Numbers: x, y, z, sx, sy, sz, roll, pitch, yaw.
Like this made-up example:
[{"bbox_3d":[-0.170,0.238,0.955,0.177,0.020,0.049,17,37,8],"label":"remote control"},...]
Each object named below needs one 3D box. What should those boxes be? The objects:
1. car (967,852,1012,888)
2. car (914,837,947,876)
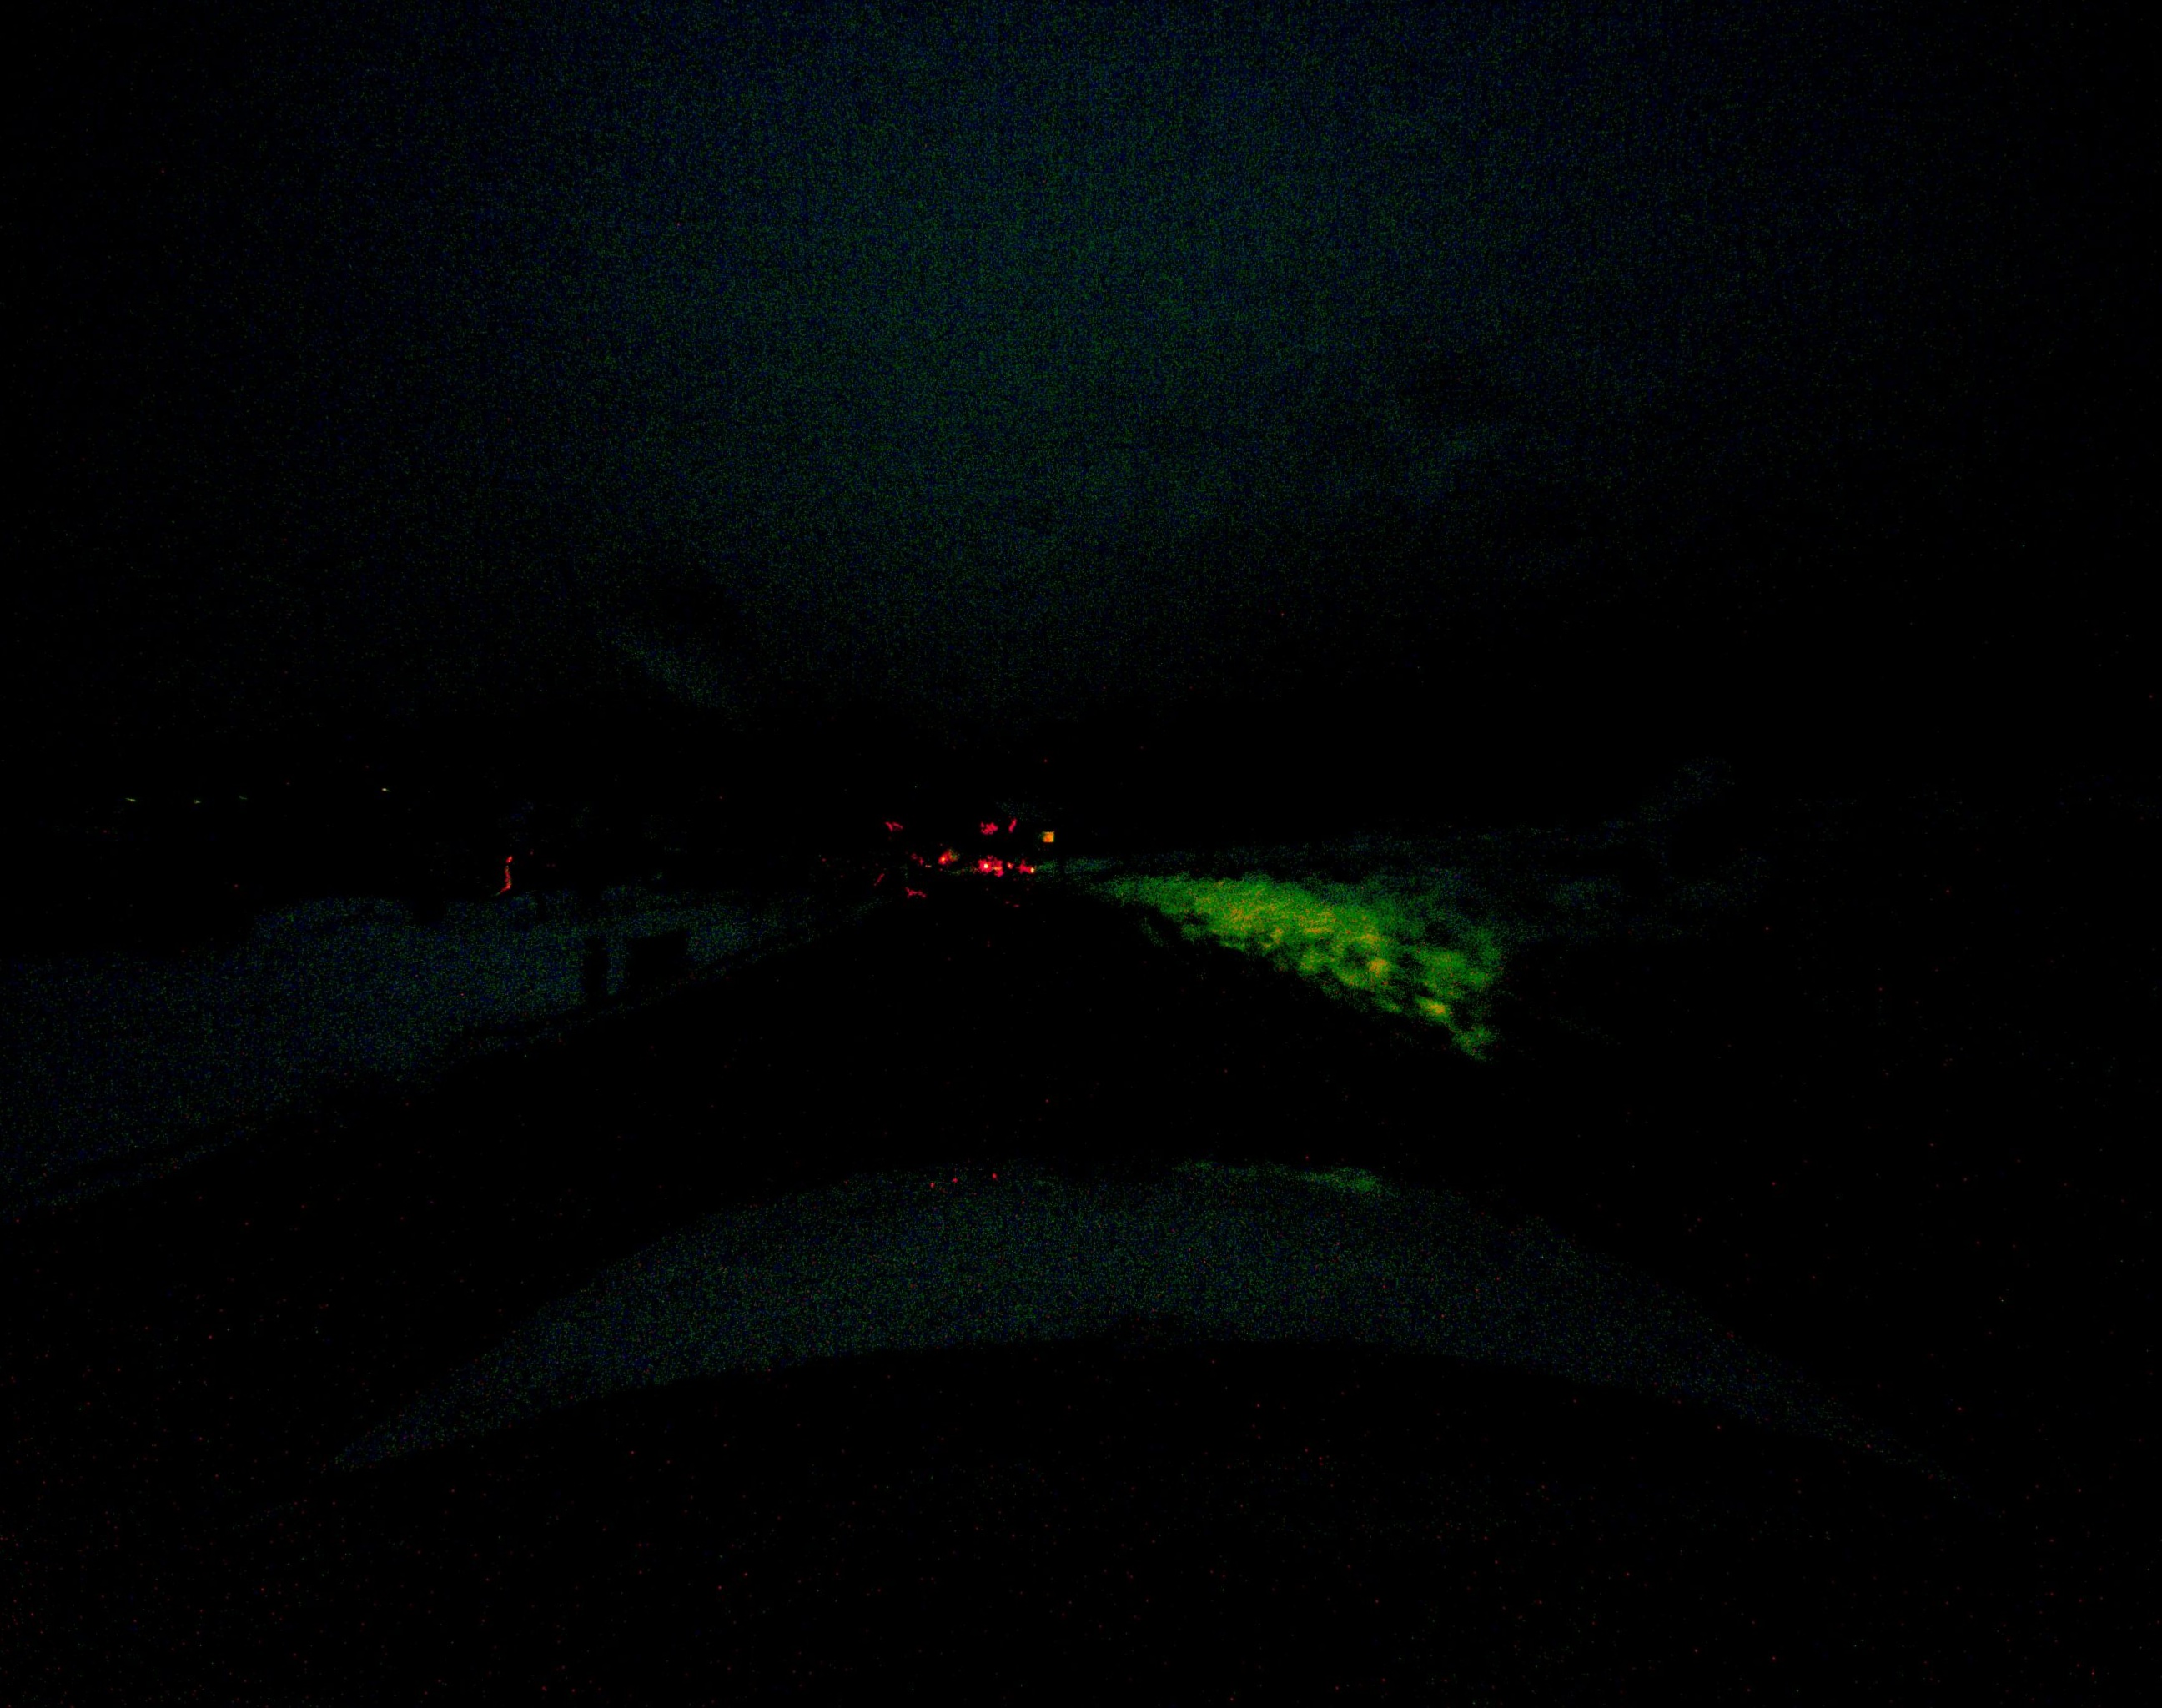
[{"bbox_3d":[-5.276,0.909,46.411,2.274,1.840,4.990,-2,-1,-9],"label":"car"},{"bbox_3d":[-12.182,0.256,66.289,2.435,3.019,5.308,-2,-1,-9],"label":"car"}]
